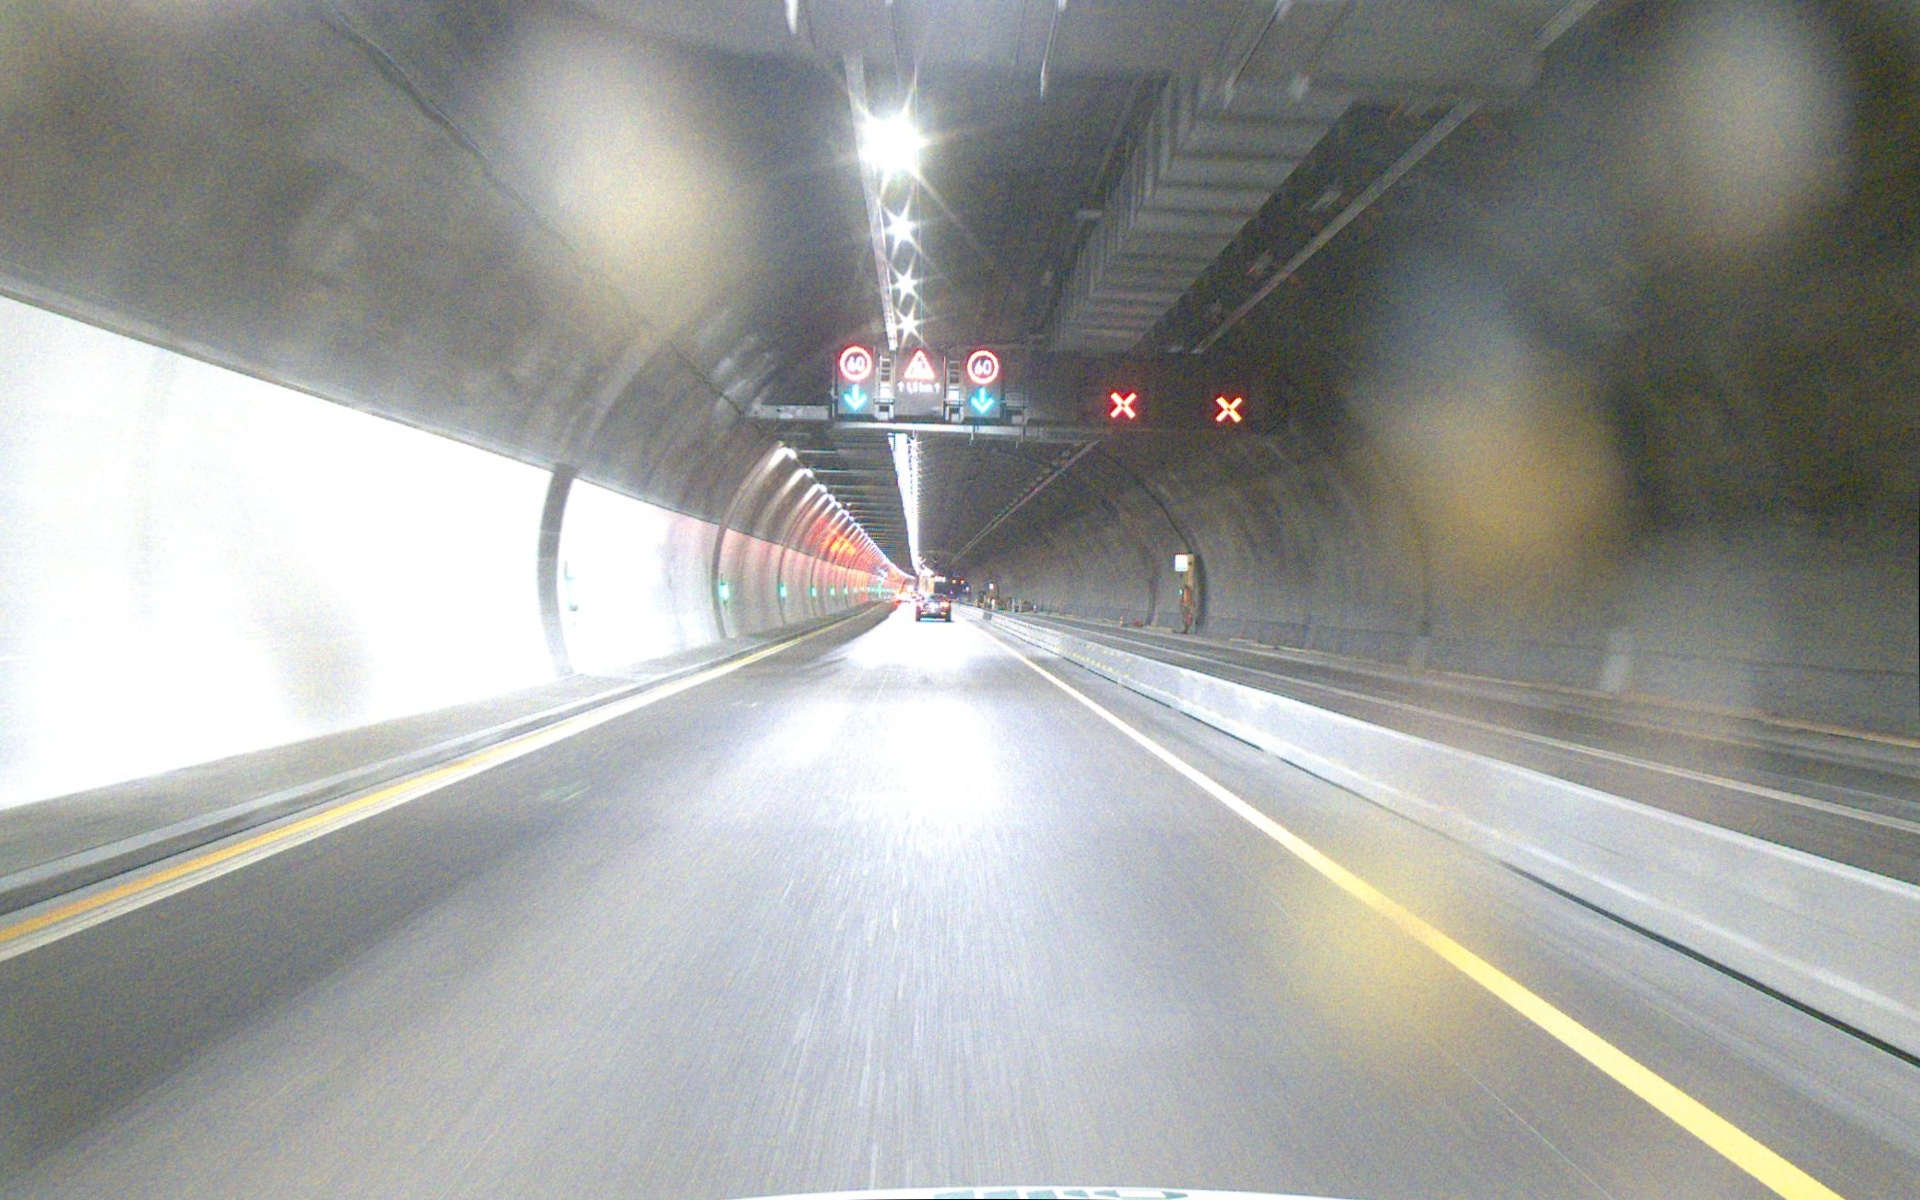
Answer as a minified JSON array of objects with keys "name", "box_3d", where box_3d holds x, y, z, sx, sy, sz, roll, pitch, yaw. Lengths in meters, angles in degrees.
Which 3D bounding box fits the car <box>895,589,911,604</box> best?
[{"name":"car","box_3d":[-6.694,-0.374,194.929,1.891,1.716,3.998,1,0,-2]}]

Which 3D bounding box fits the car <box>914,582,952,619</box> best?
[{"name":"car","box_3d":[-1.427,0.009,85.978,1.908,1.826,3.998,1,0,-2]}]

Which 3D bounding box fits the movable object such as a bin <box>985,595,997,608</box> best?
[{"name":"movable object such as a bin","box_3d":[3.789,0.210,202.734,1.210,1.467,2.216,3,0,-2]}]
